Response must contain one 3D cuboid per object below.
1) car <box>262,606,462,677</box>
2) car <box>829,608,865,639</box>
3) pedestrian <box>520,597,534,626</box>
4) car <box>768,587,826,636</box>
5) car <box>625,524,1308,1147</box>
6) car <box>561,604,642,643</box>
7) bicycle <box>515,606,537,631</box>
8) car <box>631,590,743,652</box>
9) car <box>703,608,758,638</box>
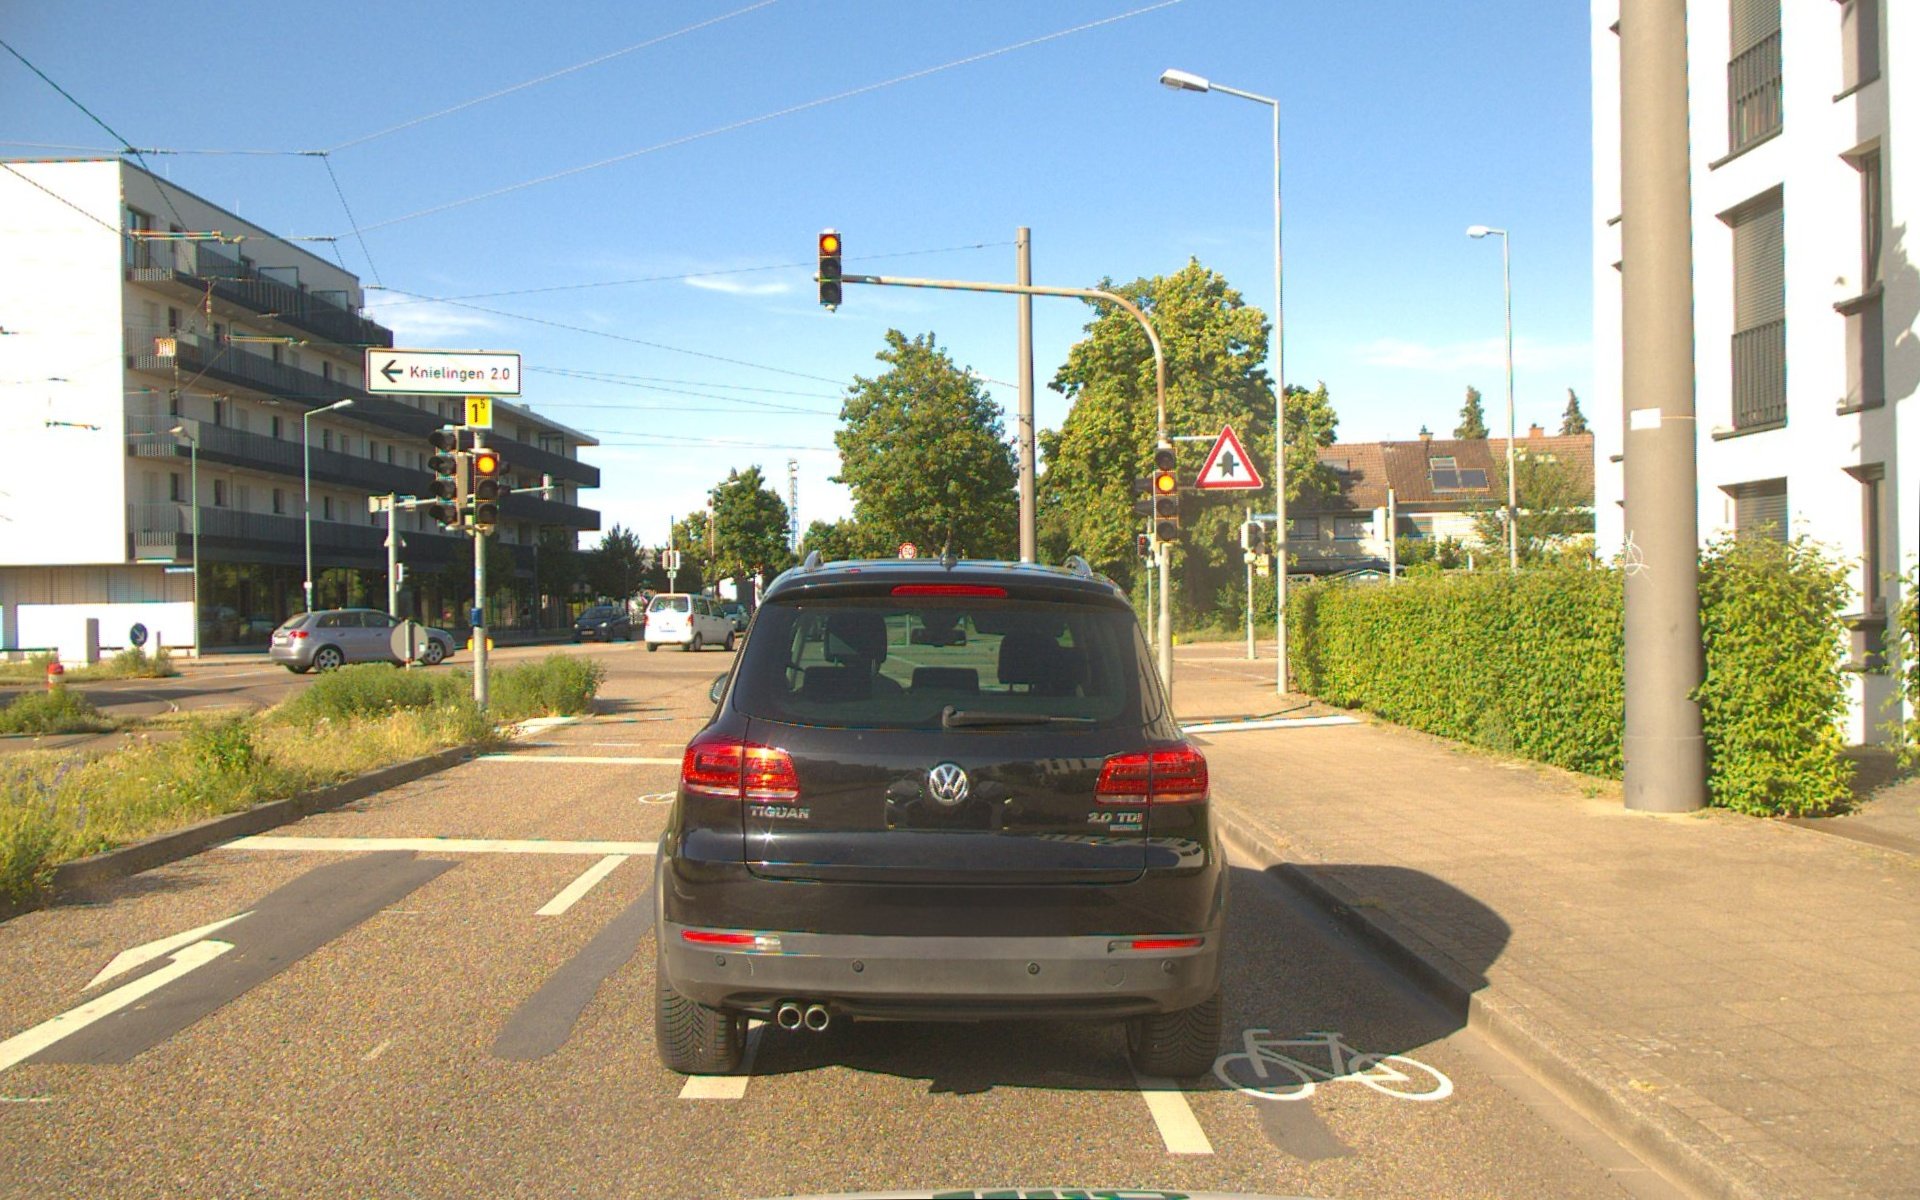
[{"bbox_3d":[-14.044,0.937,38.954,4.073,1.511,1.842,-1,0,-41],"label":"car"},{"bbox_3d":[-6.517,1.365,95.897,1.953,1.713,3.998,1,0,-2],"label":"car"},{"bbox_3d":[-23.753,0.629,90.722,0.629,1.535,0.596,1,-1,-1],"label":"pedestrian"},{"bbox_3d":[-6.565,0.446,66.104,1.958,1.869,3.990,1,0,-11],"label":"car"},{"bbox_3d":[-0.005,0.651,6.495,1.831,1.666,3.999,1,0,-1],"label":"car"},{"bbox_3d":[-15.382,0.996,71.160,1.951,1.601,4.343,1,0,9],"label":"car"},{"bbox_3d":[-23.765,0.991,90.608,0.617,1.355,1.913,1,0,1],"label":"bicycle"},{"bbox_3d":[-8.040,0.598,49.004,1.824,1.750,3.689,0,0,17],"label":"car"},{"bbox_3d":[-12.762,1.245,92.272,1.951,1.601,4.342,1,0,7],"label":"car"}]
